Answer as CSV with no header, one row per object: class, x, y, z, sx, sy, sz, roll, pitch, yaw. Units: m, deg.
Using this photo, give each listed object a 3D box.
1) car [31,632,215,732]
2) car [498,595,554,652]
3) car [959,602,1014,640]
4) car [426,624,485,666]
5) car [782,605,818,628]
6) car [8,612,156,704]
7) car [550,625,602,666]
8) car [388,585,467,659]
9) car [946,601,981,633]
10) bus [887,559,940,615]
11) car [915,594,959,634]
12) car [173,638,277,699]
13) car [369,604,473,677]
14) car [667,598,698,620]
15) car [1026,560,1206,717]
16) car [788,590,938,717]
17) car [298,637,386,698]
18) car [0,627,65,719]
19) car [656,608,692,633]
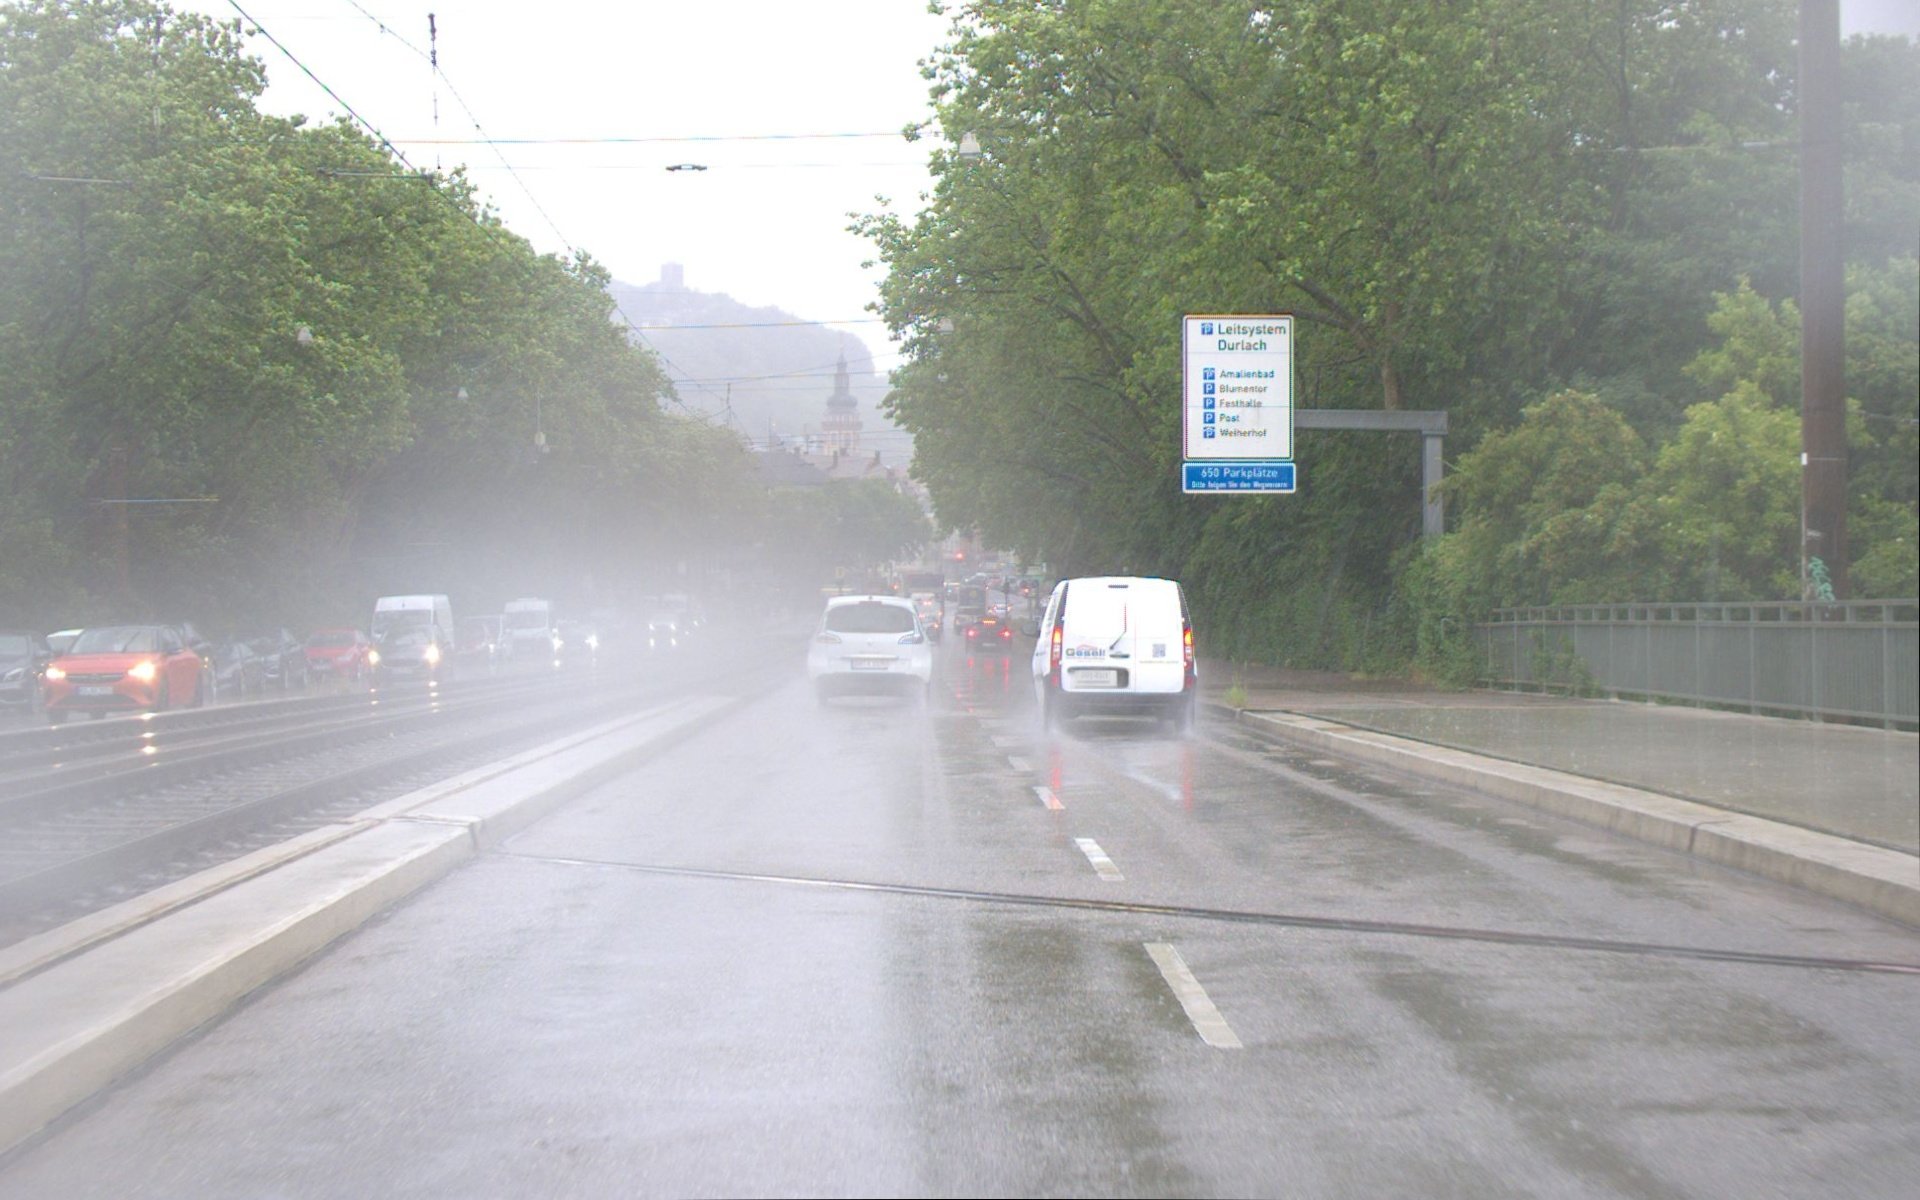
car,-12.535,1.199,51.706,1.799,1.311,4.084,1,1,-1
car,-18.263,0.973,144.696,1.800,2.214,4.277,-2,1,-1
car,1.024,0.797,130.200,1.993,1.316,4.000,1,1,1
car,-18.142,1.606,123.741,1.506,1.345,4.027,-2,1,-1
car,-10.513,1.048,225.452,1.805,1.345,4.263,-2,1,4
car,-16.144,1.045,63.440,1.506,1.396,4.894,-6,1,-2
car,-15.192,1.786,136.148,1.506,1.396,4.707,-2,1,0
car,-16.920,0.659,109.469,1.741,2.162,5.815,-2,1,-2
car,0.224,1.046,207.634,1.993,1.820,4.000,1,1,1
bus,-3.285,-0.986,246.398,3.389,3.823,9.738,1,1,1
car,-1.096,0.656,166.747,1.993,1.820,4.000,1,1,1
car,-16.193,1.497,75.894,1.506,1.168,3.713,-2,1,-1
car,-12.800,0.943,81.816,1.816,1.363,4.265,1,4,0
car,-18.856,0.631,233.753,1.805,1.345,4.264,-2,1,-1
car,1.802,0.414,40.860,1.993,1.720,4.000,1,1,1
car,-1.398,0.755,50.919,1.993,1.711,4.000,1,1,1
car,-16.593,1.798,92.441,1.609,1.437,4.262,-2,1,-1
car,-16.183,1.225,57.705,1.505,1.396,4.409,-2,1,-5
car,-17.376,1.223,209.098,1.805,1.345,4.264,-2,1,-1
